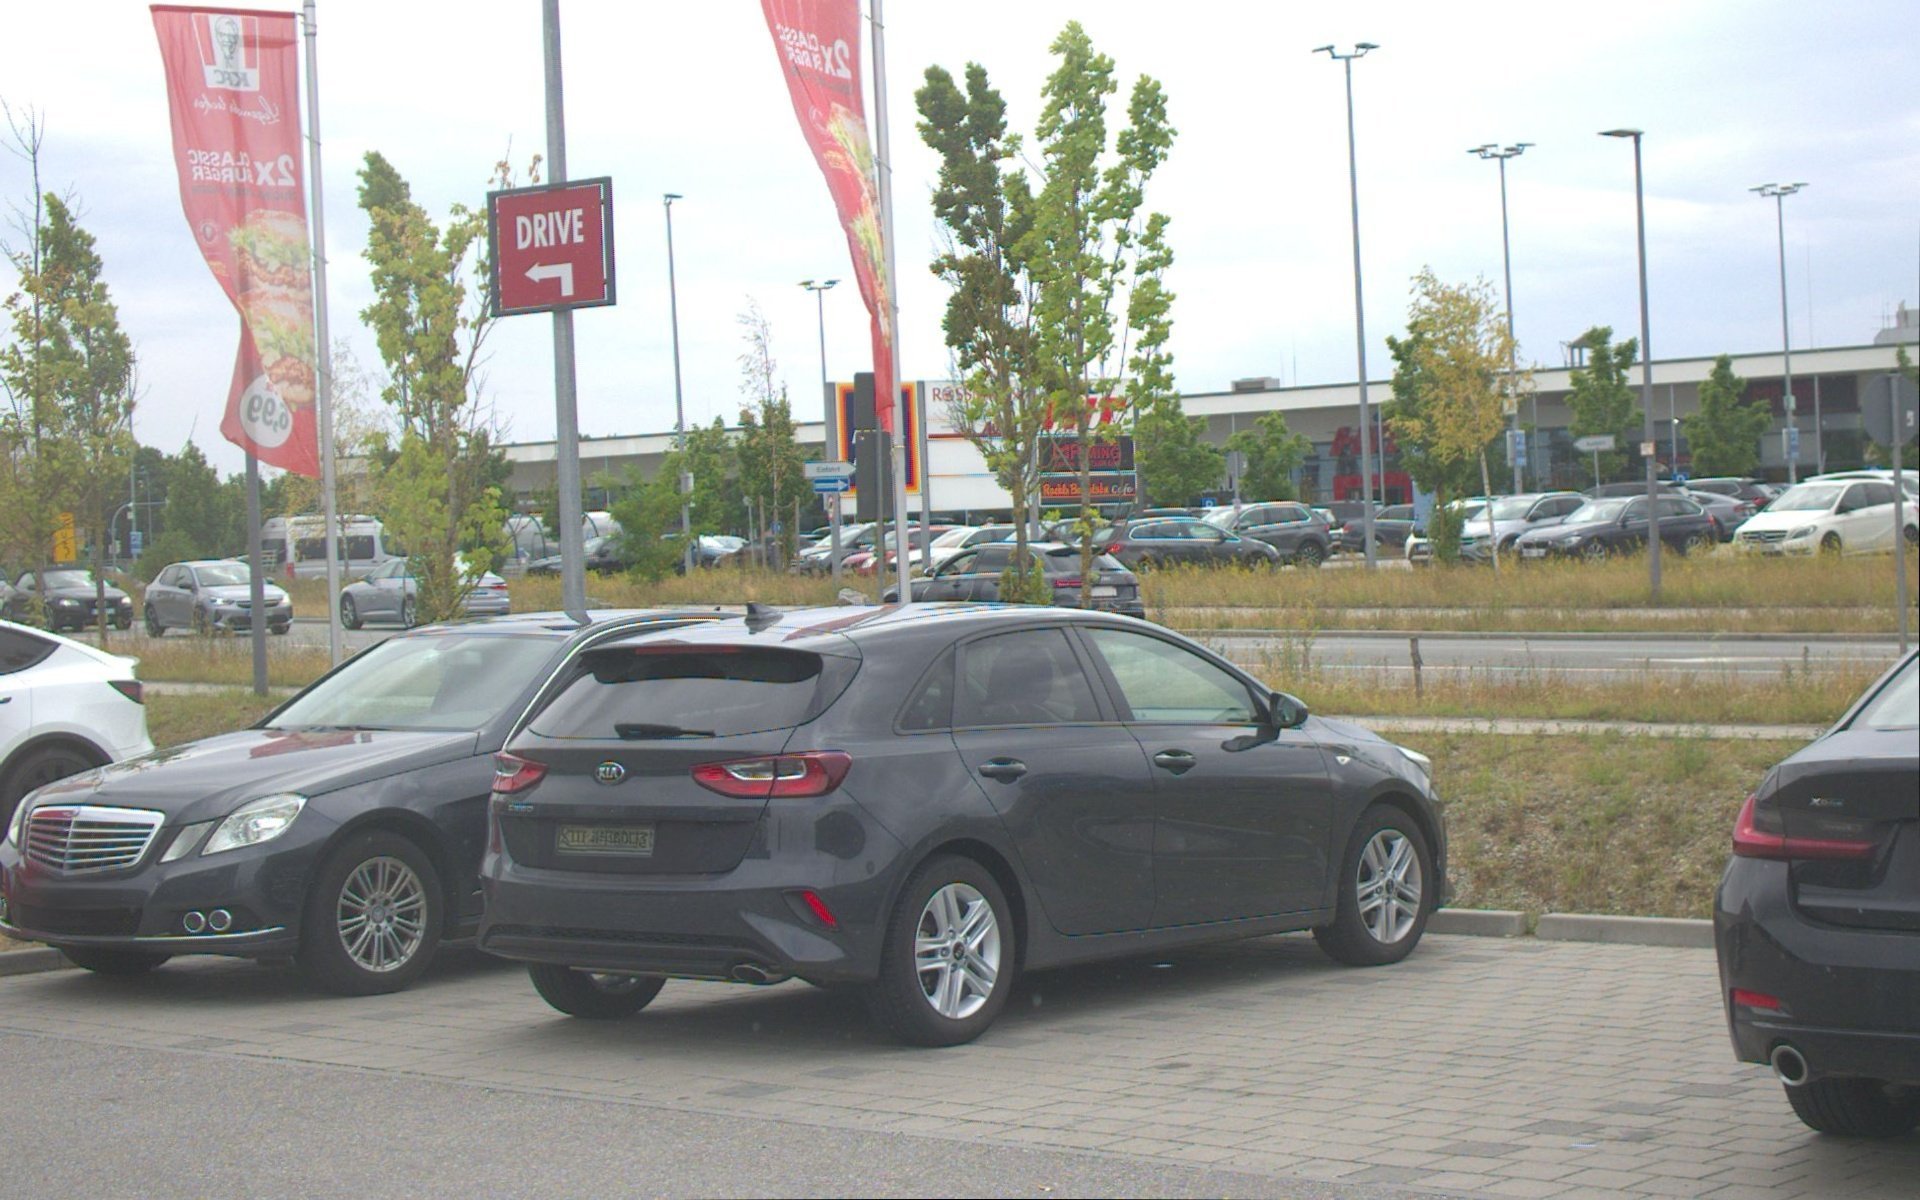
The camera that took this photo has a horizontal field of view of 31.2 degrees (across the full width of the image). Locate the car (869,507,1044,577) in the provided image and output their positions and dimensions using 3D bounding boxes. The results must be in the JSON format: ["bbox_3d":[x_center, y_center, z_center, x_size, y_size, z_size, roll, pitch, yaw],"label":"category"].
[{"bbox_3d":[-0.076,-1.461,85.982,4.062,1.496,1.864,-5,3,-40],"label":"car"}]

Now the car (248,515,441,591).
[{"bbox_3d":[-19.939,-1.527,111.456,5.580,2.114,2.340,-5,3,-35],"label":"car"}]

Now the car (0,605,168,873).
[{"bbox_3d":[-7.049,0.832,19.729,4.534,1.536,1.924,-1,0,-45],"label":"car"}]

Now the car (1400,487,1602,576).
[{"bbox_3d":[10.935,-1.395,69.327,4.044,1.534,1.771,-5,3,-41],"label":"car"}]

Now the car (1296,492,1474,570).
[{"bbox_3d":[11.218,-1.818,90.885,4.182,1.831,1.996,-1,3,39],"label":"car"}]

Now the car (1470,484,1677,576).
[{"bbox_3d":[12.023,-1.375,67.217,4.044,1.534,1.771,-5,3,-41],"label":"car"}]

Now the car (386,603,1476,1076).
[{"bbox_3d":[0.052,0.745,12.704,1.886,1.407,4.061,-1,0,38],"label":"car"}]

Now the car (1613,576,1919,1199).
[{"bbox_3d":[3.718,0.654,9.333,1.945,1.461,4.506,-1,0,38],"label":"car"}]

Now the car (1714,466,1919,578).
[{"bbox_3d":[15.787,-1.441,62.910,1.998,1.765,4.311,-1,3,41],"label":"car"}]

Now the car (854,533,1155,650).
[{"bbox_3d":[0.599,-0.124,51.094,1.797,1.546,4.853,-5,3,-37],"label":"car"}]

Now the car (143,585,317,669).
[{"bbox_3d":[-14.120,0.498,66.359,1.824,1.454,4.000,-5,3,-34],"label":"car"}]

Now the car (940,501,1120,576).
[{"bbox_3d":[1.703,-1.482,82.979,4.044,1.534,1.999,-5,3,-44],"label":"car"}]

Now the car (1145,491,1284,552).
[{"bbox_3d":[8.563,-2.633,115.811,4.182,1.831,1.996,-1,3,40],"label":"car"}]

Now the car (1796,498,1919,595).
[{"bbox_3d":[18.679,-1.067,66.742,4.317,1.765,1.917,-1,3,43],"label":"car"}]

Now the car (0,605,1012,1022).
[{"bbox_3d":[-2.007,0.782,14.831,1.910,1.451,4.731,-1,0,40],"label":"car"}]

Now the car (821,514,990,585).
[{"bbox_3d":[-1.371,-1.301,88.180,4.044,1.534,1.907,-5,3,-44],"label":"car"}]

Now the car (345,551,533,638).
[{"bbox_3d":[-10.336,-0.119,67.957,1.796,1.546,4.854,-5,3,-32],"label":"car"}]

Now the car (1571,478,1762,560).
[{"bbox_3d":[17.770,-2.030,86.567,4.182,1.831,1.996,-1,3,39],"label":"car"}]

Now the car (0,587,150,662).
[{"bbox_3d":[-19.204,0.523,74.056,1.851,1.494,4.284,-3,2,-36],"label":"car"}]

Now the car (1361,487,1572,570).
[{"bbox_3d":[10.988,-1.548,74.504,4.147,1.534,2.000,-5,3,-31],"label":"car"}]
